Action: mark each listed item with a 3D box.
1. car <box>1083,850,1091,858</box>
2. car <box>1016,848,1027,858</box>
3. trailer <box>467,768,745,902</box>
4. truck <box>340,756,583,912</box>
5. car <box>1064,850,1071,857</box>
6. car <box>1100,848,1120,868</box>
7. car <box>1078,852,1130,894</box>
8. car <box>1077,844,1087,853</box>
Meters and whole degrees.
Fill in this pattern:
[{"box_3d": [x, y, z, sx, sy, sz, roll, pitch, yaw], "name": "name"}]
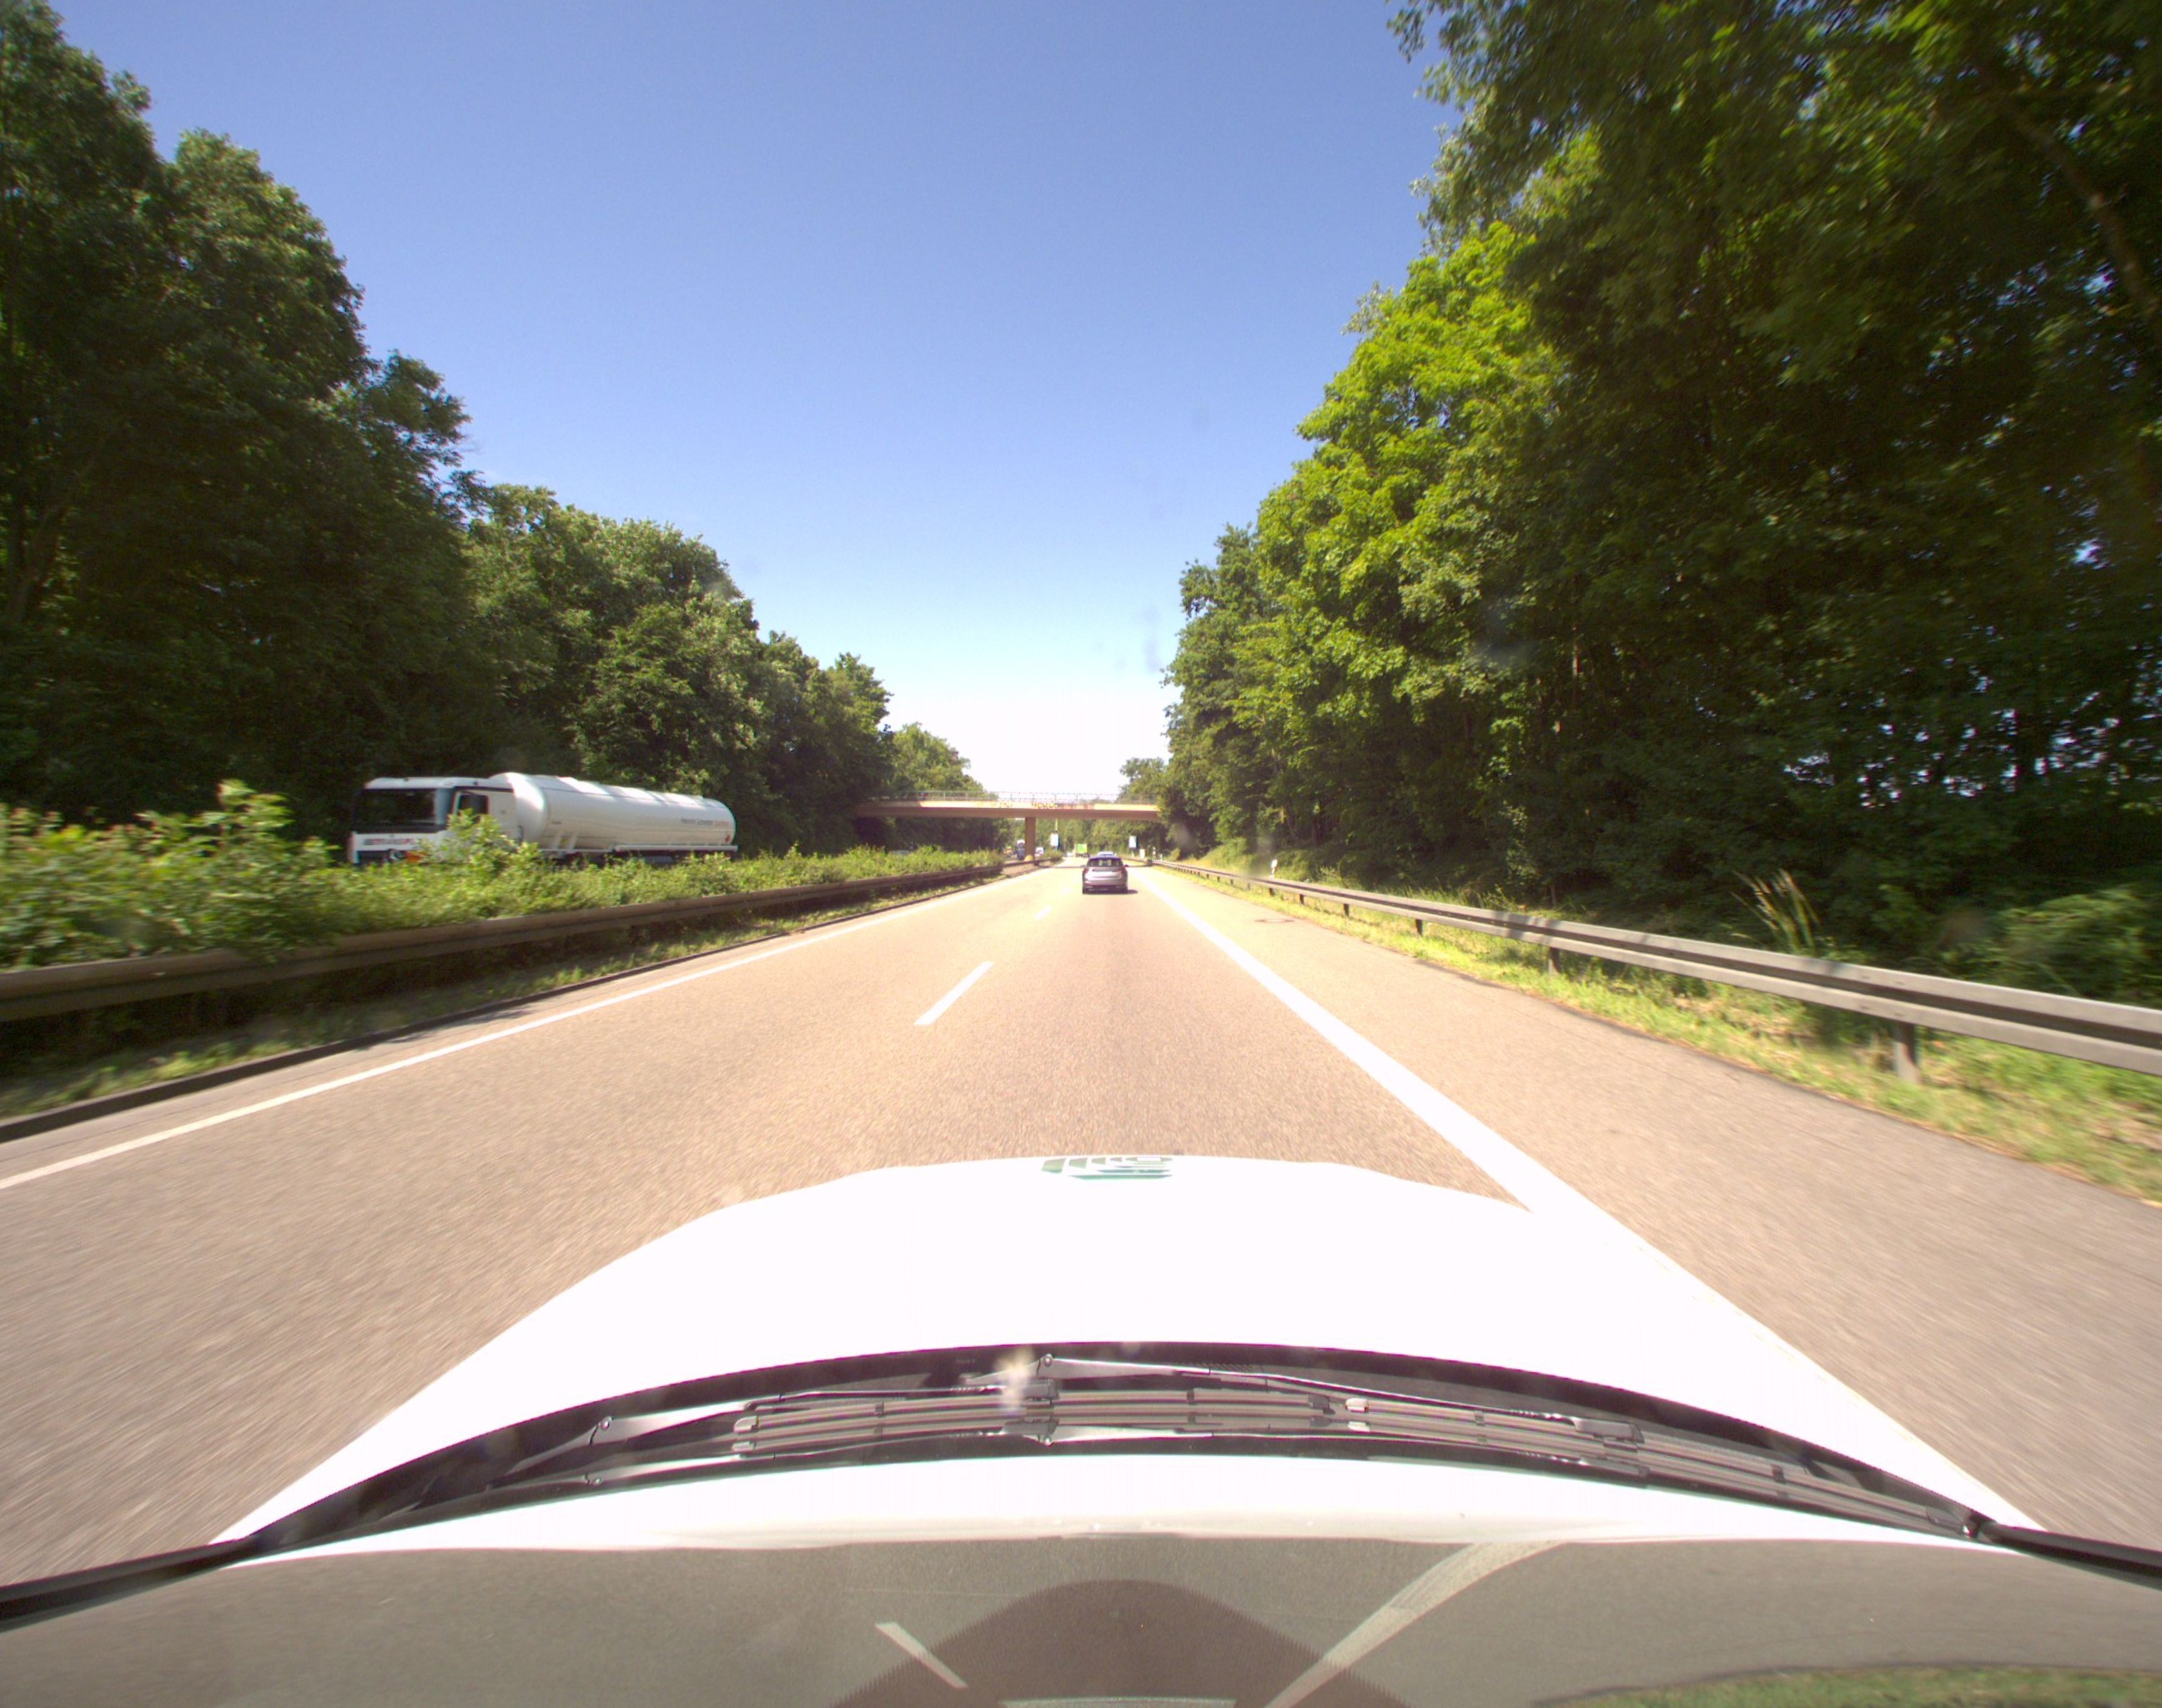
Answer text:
[{"box_3d": [1.560, 0.113, 209.043, 1.757, 2.013, 3.589, 0, 0, 2], "name": "car"}, {"box_3d": [-12.797, -0.247, 175.171, 1.986, 2.013, 4.002, 0, 0, 2], "name": "car"}, {"box_3d": [-14.475, -0.497, 26.489, 1.986, 3.402, 11.425, 0, 0, 2], "name": "trailer"}, {"box_3d": [-14.777, -0.438, 19.857, 2.329, 3.342, 4.544, 0, 0, 2], "name": "truck"}, {"box_3d": [-4.081, -0.073, 246.905, 1.986, 2.013, 4.002, 0, 0, 2], "name": "car"}, {"box_3d": [2.295, 0.290, 63.942, 1.516, 1.446, 3.343, 0, 1, 3], "name": "car"}, {"box_3d": [0.926, 0.693, 31.110, 1.832, 1.472, 3.627, 0, 1, 3], "name": "car"}, {"box_3d": [0.269, -1.636, 237.450, 2.738, 2.654, 4.002, 0, 0, 2], "name": "car"}]
